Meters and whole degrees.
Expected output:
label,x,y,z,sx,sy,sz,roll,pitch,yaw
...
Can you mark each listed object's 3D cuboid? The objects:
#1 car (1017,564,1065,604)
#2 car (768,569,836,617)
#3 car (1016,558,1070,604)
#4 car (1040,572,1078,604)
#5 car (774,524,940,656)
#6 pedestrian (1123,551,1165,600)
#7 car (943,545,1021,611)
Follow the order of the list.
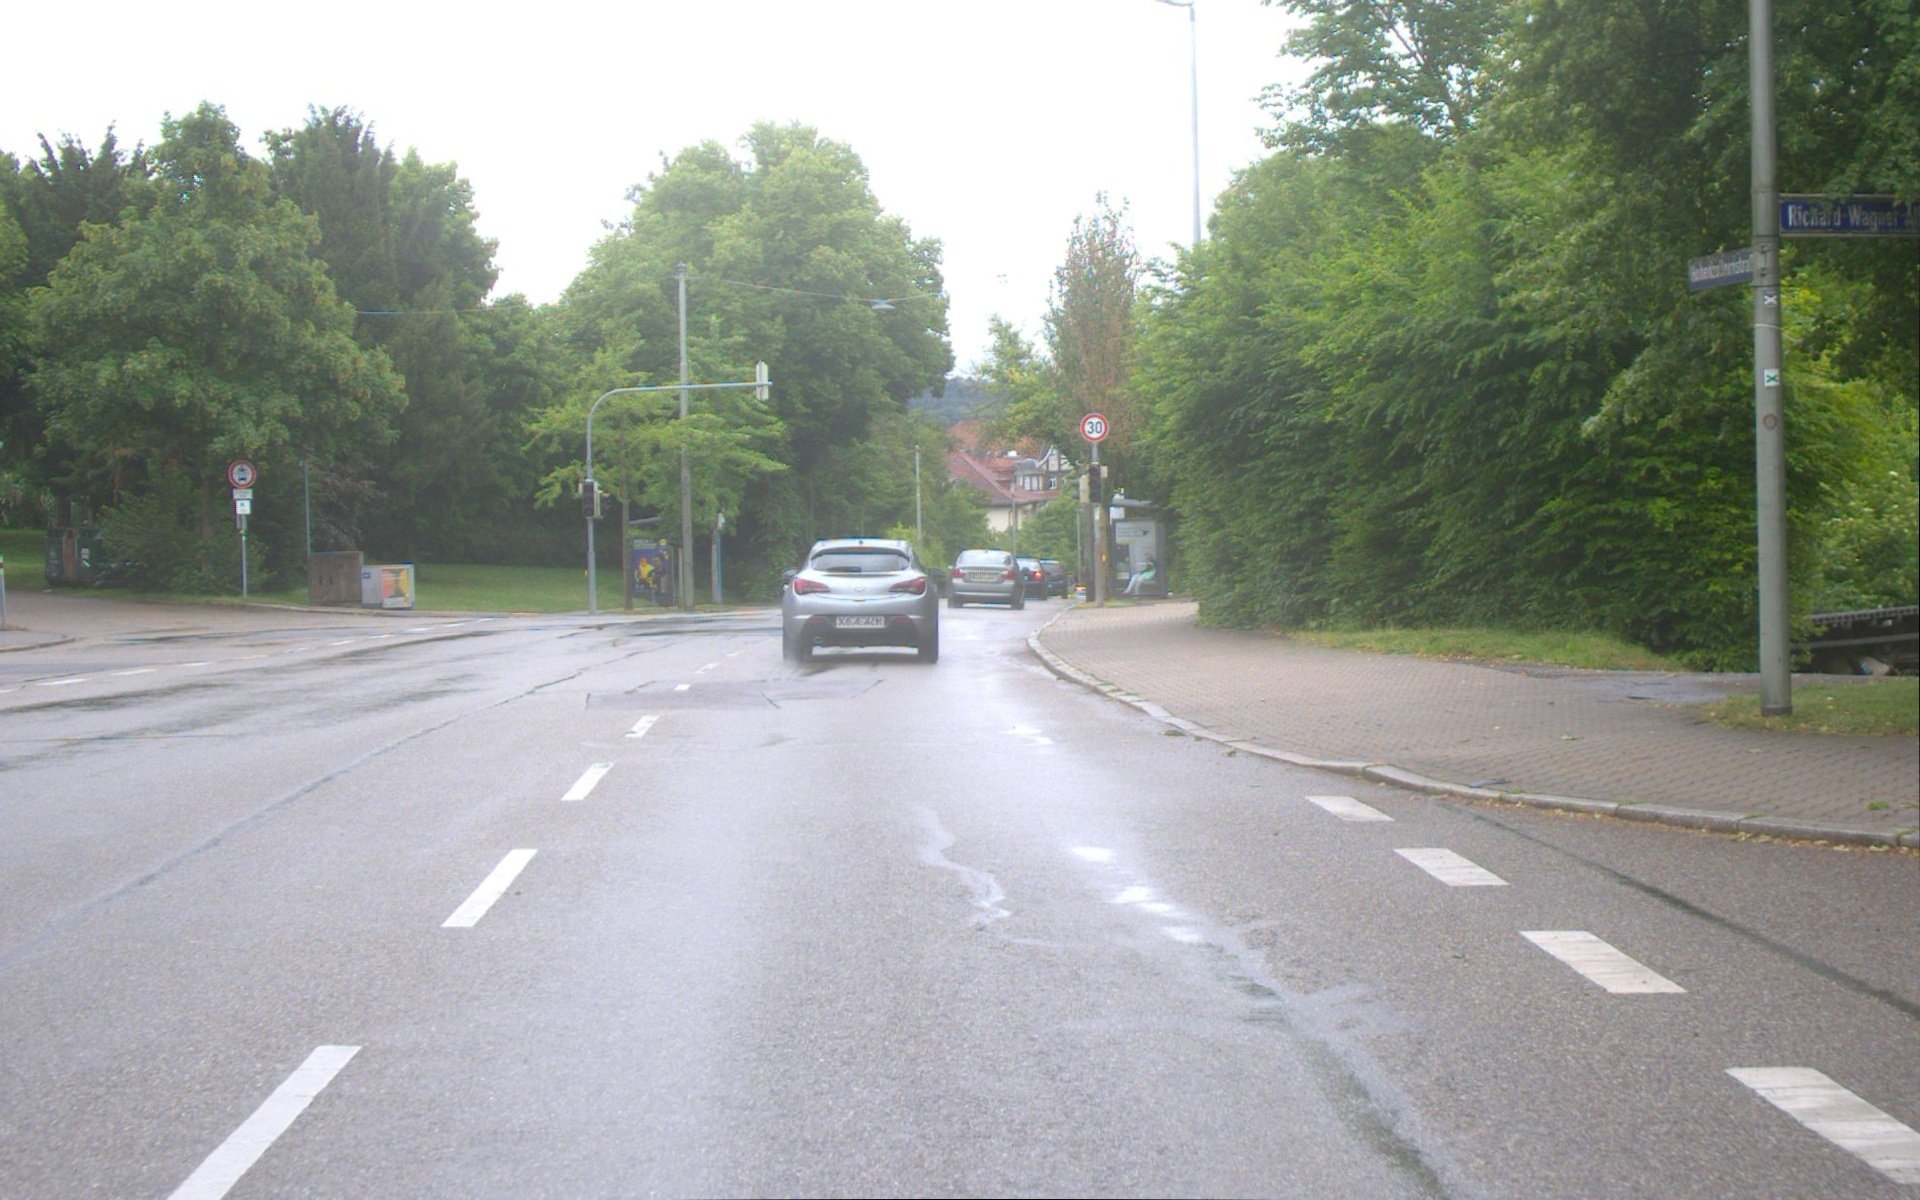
label,x,y,z,sx,sy,sz,roll,pitch,yaw
car,3.116,-0.624,131.648,1.721,1.459,4.000,2,0,2
car,-4.924,-0.221,107.350,1.661,1.302,4.083,-2,2,3
car,2.823,-0.647,116.330,1.721,1.459,4.000,2,0,2
car,4.720,-0.592,164.373,1.721,1.459,4.000,2,0,2
car,-1.189,-0.158,41.318,1.754,1.459,4.000,1,1,1
pedestrian,5.290,-0.708,98.722,1.074,1.351,0.918,-2,0,10
car,0.558,-0.528,82.491,1.721,1.459,4.000,2,0,2
